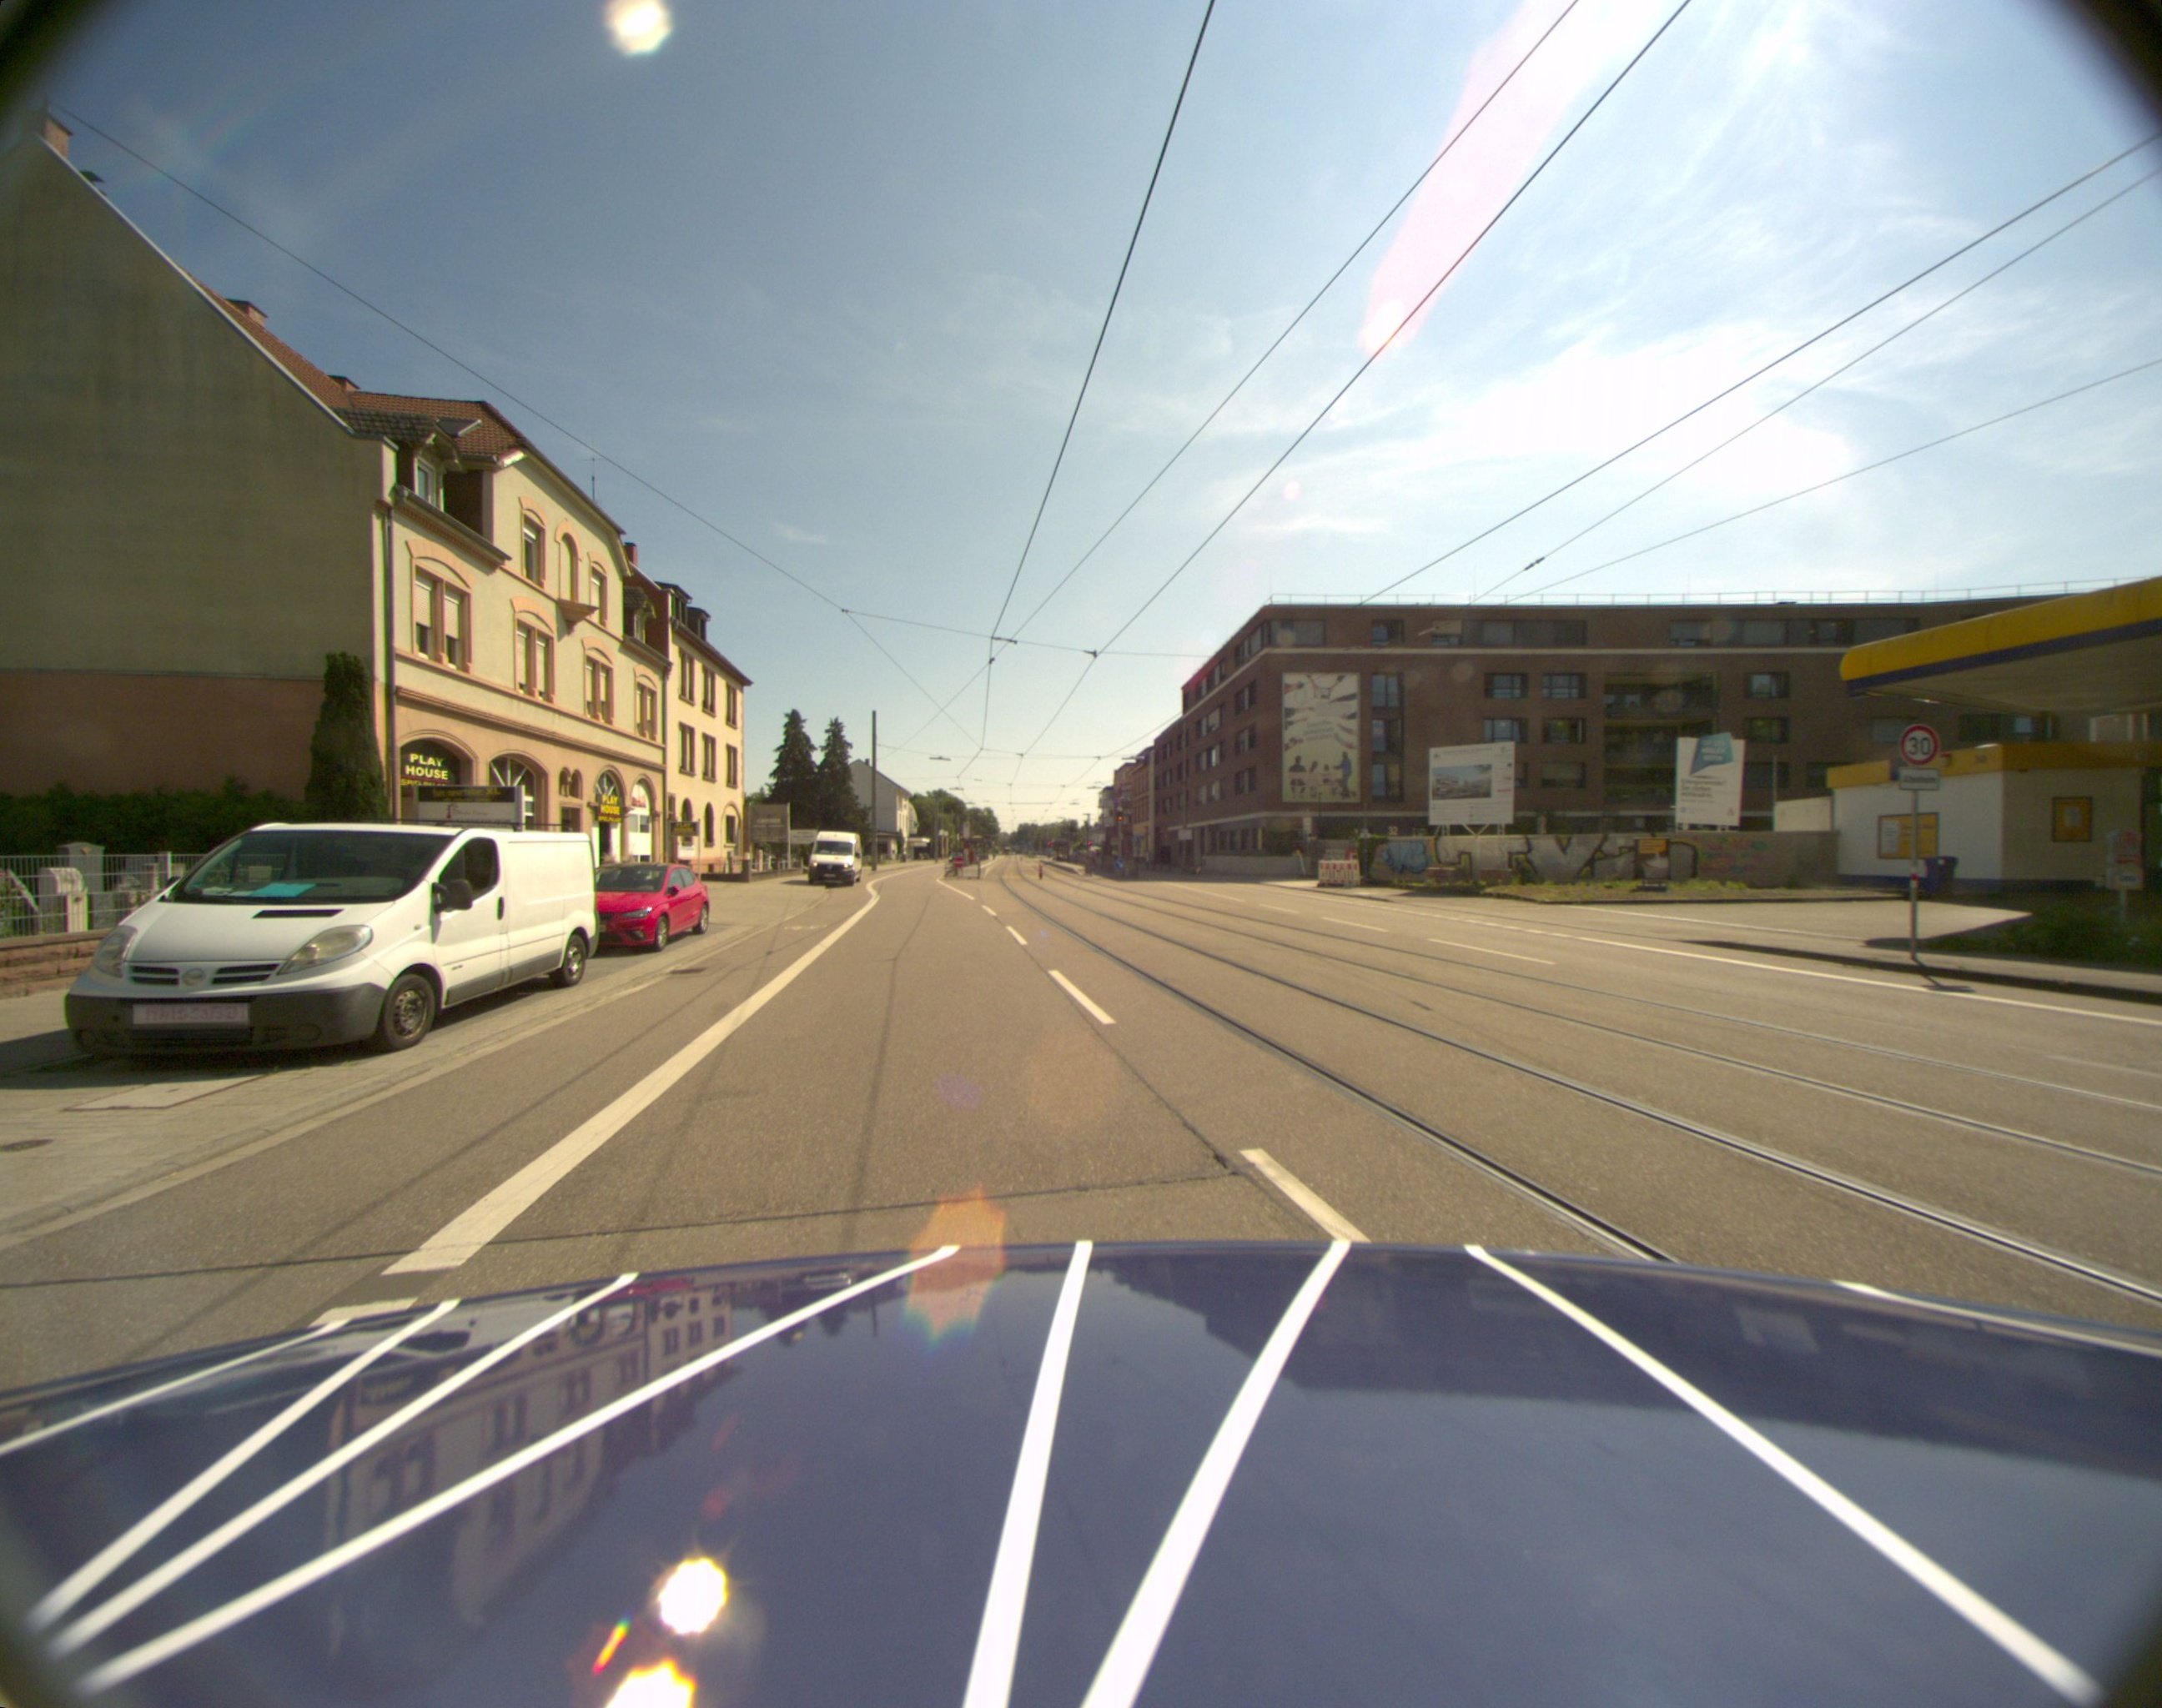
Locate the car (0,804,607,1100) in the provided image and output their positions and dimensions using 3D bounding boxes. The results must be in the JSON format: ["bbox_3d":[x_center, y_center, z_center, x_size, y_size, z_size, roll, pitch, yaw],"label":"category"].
[{"bbox_3d":[-6.969,0.659,7.692,2.091,2.002,4.902,1,0,-11],"label":"car"}]

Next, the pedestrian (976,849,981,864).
[{"bbox_3d":[-11.074,0.279,82.319,0.417,1.680,0.706,0,1,-20],"label":"pedestrian"}]

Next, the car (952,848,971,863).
[{"bbox_3d":[-16.134,0.193,102.807,1.999,2.002,3.998,0,1,-3],"label":"car"}]

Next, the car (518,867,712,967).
[{"bbox_3d":[-8.055,0.987,13.591,1.726,1.398,3.996,0,0,-12],"label":"car"}]

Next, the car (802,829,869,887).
[{"bbox_3d":[-11.928,0.154,37.393,2.338,2.521,6.499,2,0,-12],"label":"car"}]

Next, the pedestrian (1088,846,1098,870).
[{"bbox_3d":[0.893,0.277,55.720,0.558,1.750,0.792,-1,1,-12],"label":"pedestrian"}]

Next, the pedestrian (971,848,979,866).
[{"bbox_3d":[-10.014,0.237,71.513,0.708,1.680,0.416,0,1,-13],"label":"pedestrian"}]
